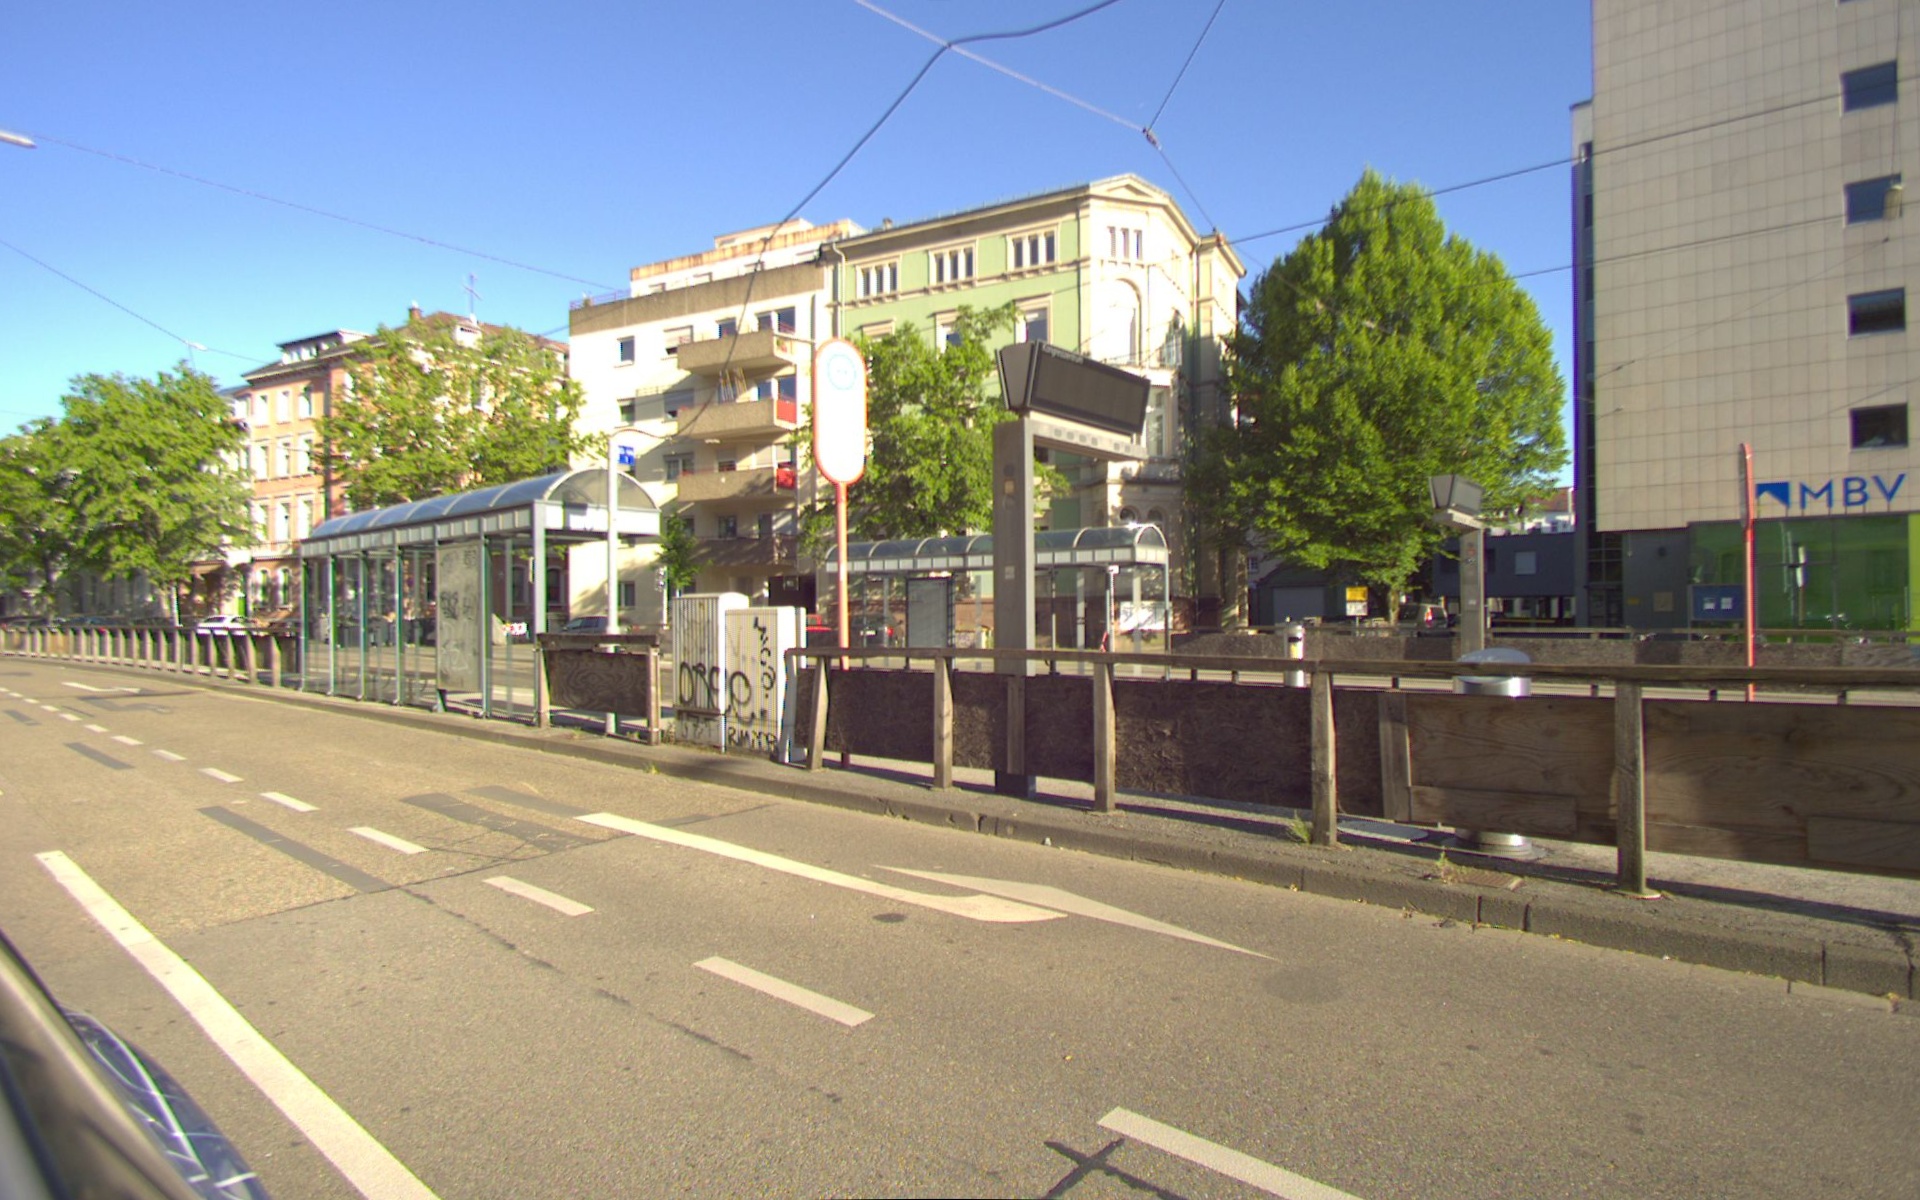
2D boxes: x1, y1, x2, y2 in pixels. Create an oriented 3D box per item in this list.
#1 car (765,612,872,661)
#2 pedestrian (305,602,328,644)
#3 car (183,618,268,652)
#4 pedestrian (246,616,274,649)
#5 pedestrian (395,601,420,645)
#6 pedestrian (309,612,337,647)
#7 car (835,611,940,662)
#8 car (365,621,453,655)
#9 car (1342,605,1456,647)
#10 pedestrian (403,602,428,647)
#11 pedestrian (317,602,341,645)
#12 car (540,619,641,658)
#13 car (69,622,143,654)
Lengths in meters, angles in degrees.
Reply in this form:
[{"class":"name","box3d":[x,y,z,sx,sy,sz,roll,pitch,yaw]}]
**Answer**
[{"class":"car","box3d":[-4.774,1.214,34.659,1.754,1.594,3.965,-1,-1,26]},{"class":"pedestrian","box3d":[-34.230,1.239,53.869,0.755,2.224,0.803,-1,-2,36]},{"class":"car","box3d":[-39.435,1.847,54.424,1.825,1.721,4.130,0,-1,-5]},{"class":"pedestrian","box3d":[-35.126,1.618,50.774,0.888,1.641,0.859,-1,-2,31]},{"class":"pedestrian","box3d":[-27.760,1.155,50.855,0.753,2.224,0.804,-1,-2,30]},{"class":"pedestrian","box3d":[-31.902,1.476,50.669,1.016,1.733,0.846,-1,-2,32]},{"class":"car","box3d":[-2.340,1.183,33.611,1.754,1.594,3.965,-1,-1,26]},{"class":"car","box3d":[-23.776,1.624,43.643,3.986,1.407,1.592,-1,-2,32]},{"class":"car","box3d":[15.760,0.899,36.464,1.544,1.423,3.430,-1,0,-38]},{"class":"pedestrian","box3d":[-27.027,1.199,50.237,0.753,2.224,0.804,-1,-2,30]},{"class":"pedestrian","box3d":[-33.023,1.224,52.982,0.753,2.224,0.804,-1,-2,30]},{"class":"car","box3d":[-14.096,1.450,38.579,3.725,1.438,1.637,-1,-1,29]},{"class":"car","box3d":[-40.822,1.800,48.346,3.988,1.500,1.629,-1,-2,33]}]
